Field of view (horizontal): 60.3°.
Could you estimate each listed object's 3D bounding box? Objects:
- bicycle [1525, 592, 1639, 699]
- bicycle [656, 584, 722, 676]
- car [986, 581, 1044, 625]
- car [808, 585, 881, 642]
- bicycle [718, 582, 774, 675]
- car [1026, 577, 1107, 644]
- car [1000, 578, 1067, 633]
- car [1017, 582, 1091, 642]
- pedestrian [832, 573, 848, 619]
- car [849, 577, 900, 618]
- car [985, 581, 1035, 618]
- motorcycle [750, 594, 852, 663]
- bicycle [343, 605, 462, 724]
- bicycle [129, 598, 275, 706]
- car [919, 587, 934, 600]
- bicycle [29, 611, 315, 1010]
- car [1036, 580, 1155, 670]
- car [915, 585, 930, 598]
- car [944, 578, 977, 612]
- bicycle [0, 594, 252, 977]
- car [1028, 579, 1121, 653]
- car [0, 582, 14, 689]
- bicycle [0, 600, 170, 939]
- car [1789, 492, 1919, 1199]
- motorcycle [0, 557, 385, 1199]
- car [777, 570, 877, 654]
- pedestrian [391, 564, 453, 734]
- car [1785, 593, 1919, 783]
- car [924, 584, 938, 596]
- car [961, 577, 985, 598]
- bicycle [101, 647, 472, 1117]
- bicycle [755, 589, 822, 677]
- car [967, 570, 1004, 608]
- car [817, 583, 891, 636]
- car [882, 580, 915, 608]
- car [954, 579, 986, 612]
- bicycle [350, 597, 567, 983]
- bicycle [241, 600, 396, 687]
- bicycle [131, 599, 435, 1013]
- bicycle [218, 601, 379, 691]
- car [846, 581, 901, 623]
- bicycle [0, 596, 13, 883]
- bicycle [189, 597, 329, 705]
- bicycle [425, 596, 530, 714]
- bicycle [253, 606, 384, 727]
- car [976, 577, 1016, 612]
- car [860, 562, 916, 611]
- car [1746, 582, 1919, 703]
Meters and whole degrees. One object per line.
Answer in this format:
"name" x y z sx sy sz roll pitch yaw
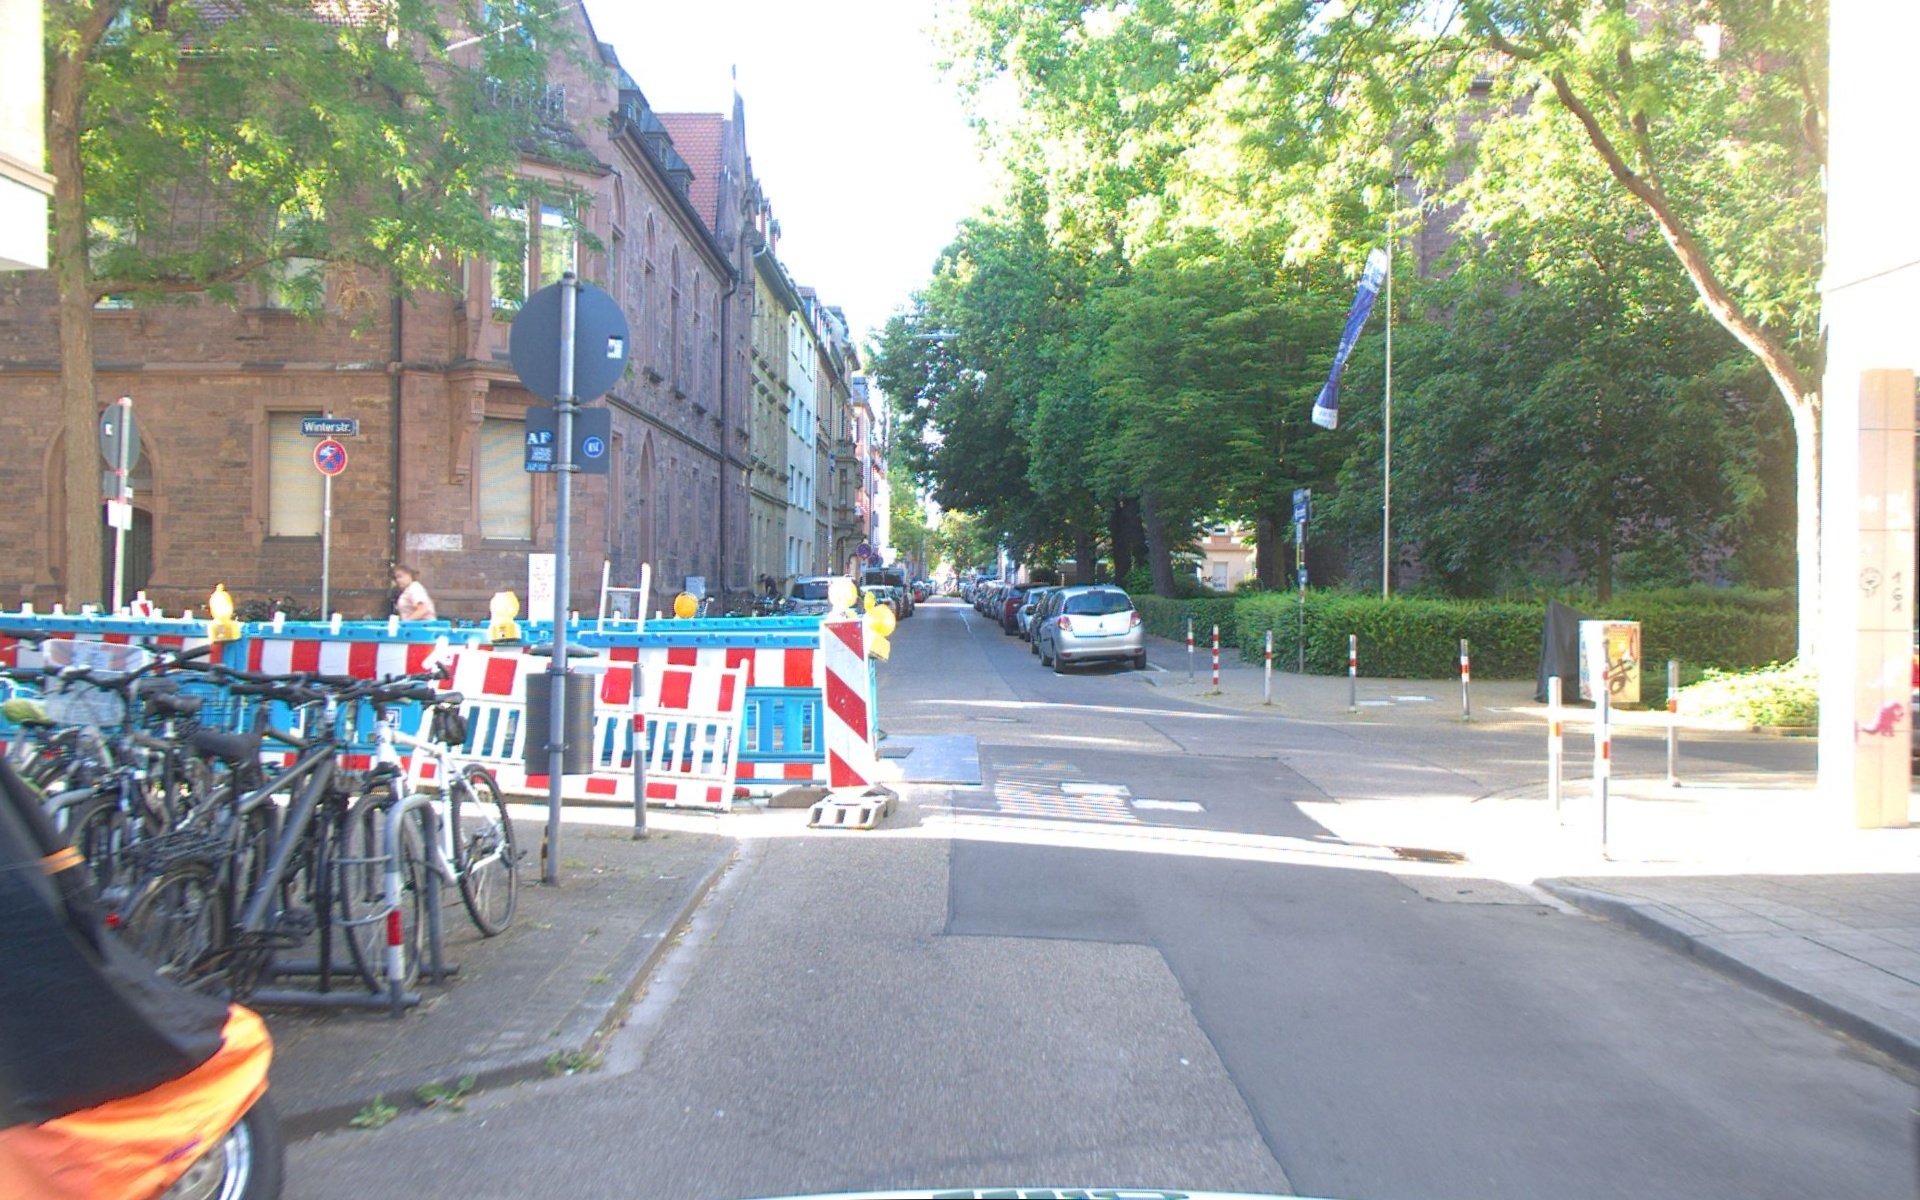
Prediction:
"bicycle" 8.653 0.602 22.963 0.763 1.395 2.112 0 1 42
"bicycle" -4.488 0.458 27.532 0.669 1.448 2.798 0 0 -1
"car" 2.018 0.088 61.959 1.953 1.601 3.999 0 0 -1
"car" -2.982 0.329 43.390 1.690 1.417 3.999 0 0 -1
"bicycle" -3.530 0.432 27.161 0.563 1.448 2.492 0 0 -16
"car" 2.668 0.247 42.071 1.706 1.601 3.999 0 0 -1
"car" 2.276 0.157 52.088 1.856 1.653 3.999 0 0 -1
"car" 2.634 0.296 47.262 1.804 1.624 3.999 0 1 -1
"pedestrian" -5.388 -0.168 74.207 0.672 2.049 0.690 0 0 -8
"car" -3.435 -0.114 67.050 1.953 1.601 3.999 0 0 -1
"car" 2.158 -0.034 72.261 1.953 1.601 3.999 0 0 -1
"motorcycle" -2.945 0.503 30.474 0.660 1.228 2.275 0 0 -42
"bicycle" -7.115 0.785 21.243 0.669 1.344 2.446 0 2 1
"bicycle" -9.516 0.614 20.888 0.669 1.200 2.446 0 2 1
"car" -4.541 -0.852 222.523 1.953 1.676 3.999 0 0 -1
"bicycle" -2.899 0.701 6.233 0.356 1.248 1.553 0 2 -2
"car" 2.454 0.415 30.894 1.689 1.549 3.998 0 1 -3
"car" -4.827 -1.044 213.442 1.953 1.676 3.999 0 0 -1
"car" 0.012 -0.309 89.674 1.718 1.780 3.999 0 1 -1
"bicycle" -3.275 0.630 6.479 0.288 1.248 1.699 0 2 -1
"car" 2.460 0.327 36.426 1.688 1.549 3.999 0 0 -1
"car" -14.225 0.503 22.639 1.830 1.509 4.238 0 0 -25
"bicycle" -3.900 0.665 6.756 0.391 1.248 2.030 0 2 -1
"car" 2.810 0.632 1.510 1.862 1.668 4.390 0 0 -1
"motorcycle" -2.434 0.670 3.077 2.483 1.508 0.895 0 0 -28
"car" -2.898 0.243 36.828 1.843 1.737 4.000 -1 0 0
"pedestrian" -5.689 0.510 17.505 0.514 1.771 0.557 0 0 -5
"car" 9.208 0.648 13.294 4.260 1.412 1.849 0 0 -2
"car" -4.298 -1.476 244.158 1.953 1.676 3.999 0 0 -1
"car" 1.066 -1.086 139.943 1.953 1.758 4.000 0 1 -1
"bicycle" -2.031 0.771 5.215 0.416 1.160 1.666 3 1 1
"bicycle" -2.835 0.508 27.122 0.671 1.368 2.492 0 0 -16
"car" 1.570 -0.687 102.308 2.117 2.295 4.524 0 0 -2
"car" -3.020 0.252 47.904 1.843 1.435 4.000 -1 0 0
"car" -3.549 -0.347 95.537 1.864 1.601 3.999 0 0 -1
"car" 0.561 -0.292 94.579 1.655 1.758 3.999 3 1 -1
"bicycle" -1.872 0.642 6.340 0.391 1.248 1.505 0 2 -1
"bicycle" -9.101 0.610 23.497 1.922 1.200 0.685 0 2 1
"bicycle" -2.451 0.657 6.203 0.391 1.248 1.873 0 2 -1
"bicycle" -9.098 0.624 22.775 1.922 1.200 0.685 0 2 0
"car" -2.978 0.038 57.591 1.735 1.377 3.999 0 1 -1
"bicycle" -4.344 0.643 6.398 0.391 1.248 1.815 0 2 -3
"bicycle" -8.799 0.605 20.888 0.669 1.200 2.446 0 2 1
"bicycle" -6.099 0.663 21.023 0.669 1.344 2.143 0 2 1
"bicycle" -8.062 0.798 20.912 0.669 1.344 2.446 0 2 1
"car" 1.778 -0.285 83.149 1.792 1.733 3.999 0 1 -1
"car" -3.221 -0.583 74.900 2.261 2.151 5.170 0 0 0
"car" 13.337 0.549 22.015 1.781 1.579 5.044 0 0 -33
